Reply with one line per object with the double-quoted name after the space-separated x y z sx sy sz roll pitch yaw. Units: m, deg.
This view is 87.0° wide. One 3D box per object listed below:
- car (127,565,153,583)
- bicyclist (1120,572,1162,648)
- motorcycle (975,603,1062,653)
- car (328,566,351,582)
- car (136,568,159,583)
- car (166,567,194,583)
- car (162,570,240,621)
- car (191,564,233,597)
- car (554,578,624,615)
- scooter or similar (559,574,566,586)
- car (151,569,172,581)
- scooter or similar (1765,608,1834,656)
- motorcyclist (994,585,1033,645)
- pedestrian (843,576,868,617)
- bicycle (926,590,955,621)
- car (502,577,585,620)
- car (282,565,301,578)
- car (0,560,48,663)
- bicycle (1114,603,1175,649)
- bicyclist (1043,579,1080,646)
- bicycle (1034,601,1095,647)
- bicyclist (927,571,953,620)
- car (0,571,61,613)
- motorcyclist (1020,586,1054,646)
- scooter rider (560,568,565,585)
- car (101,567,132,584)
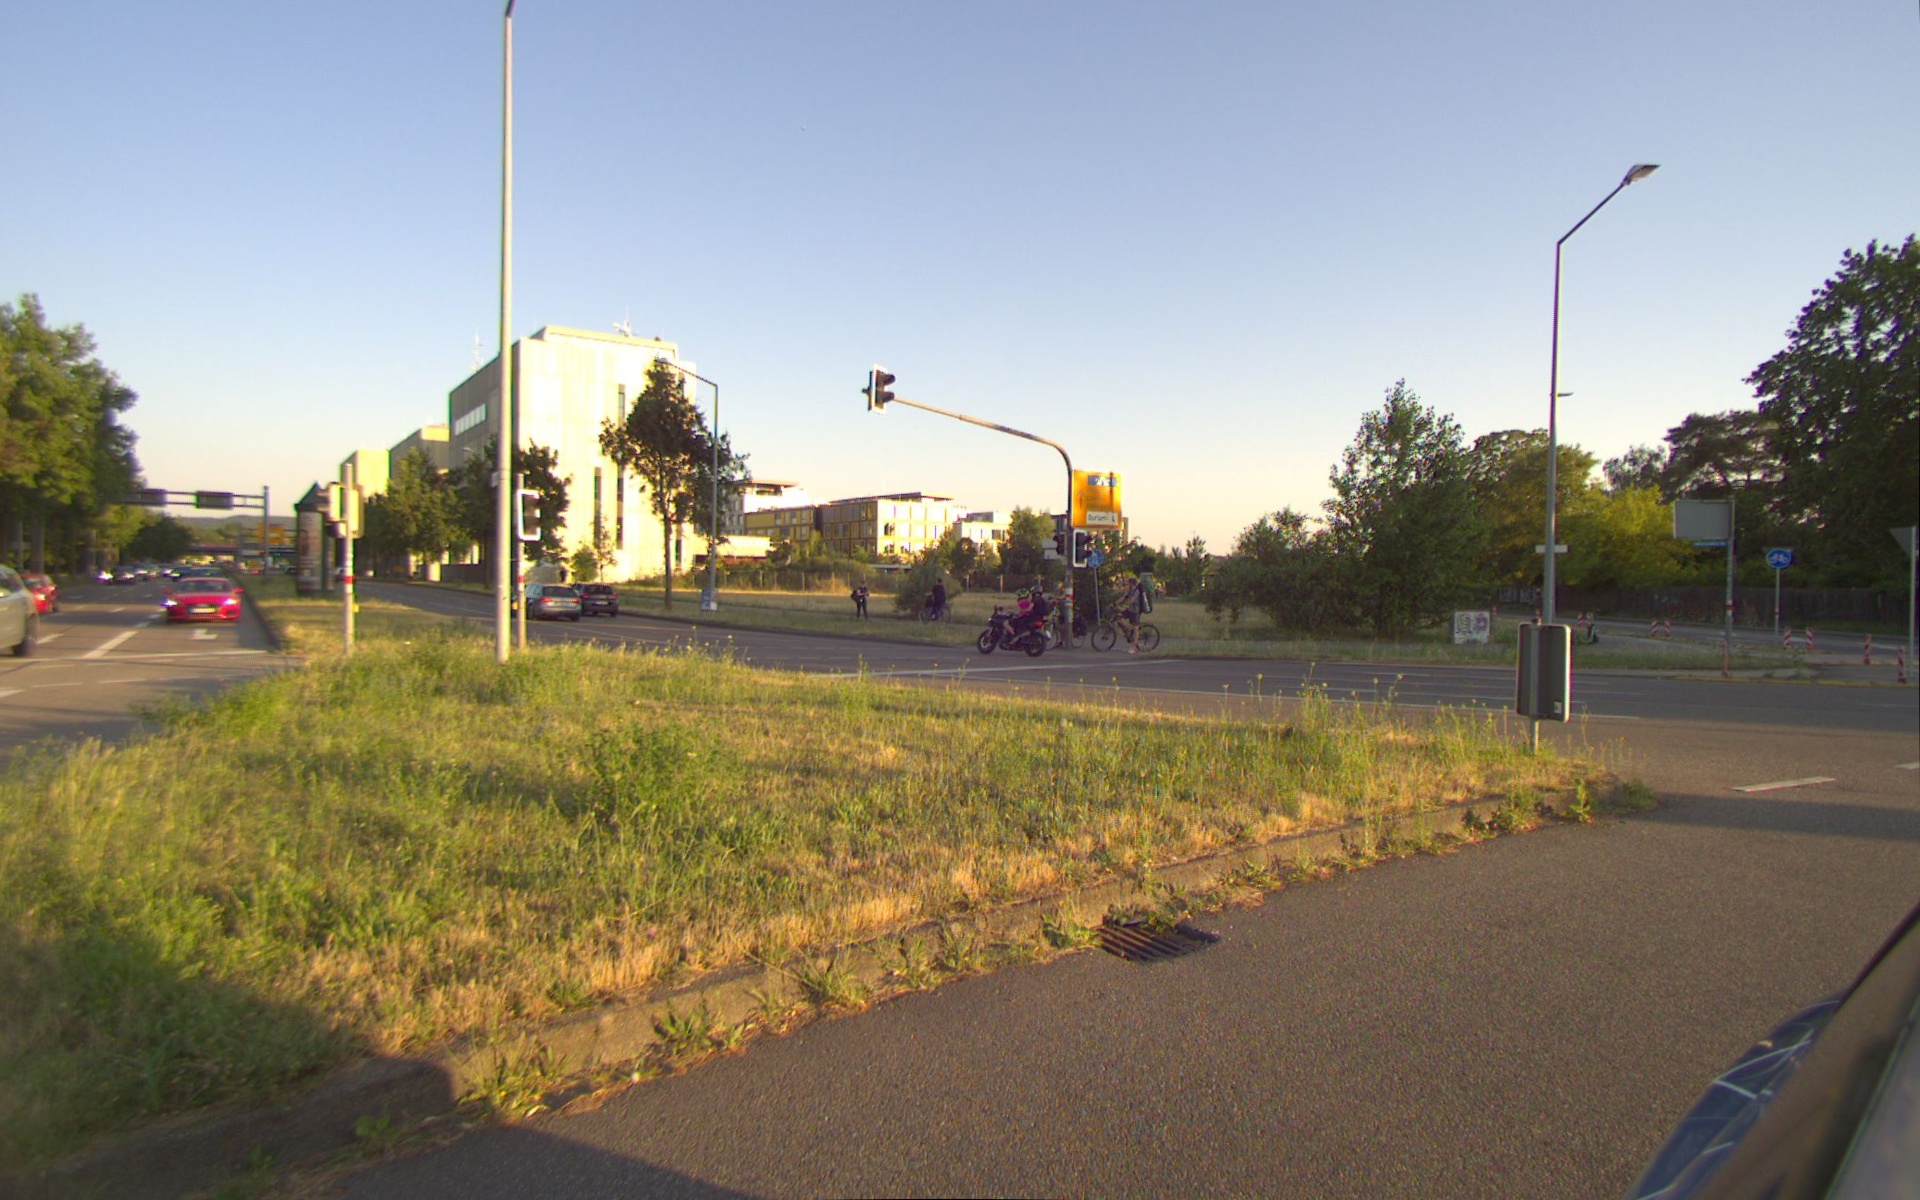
-73.029 -2.296 90.123 1.589 1.537 3.716 -1 2 -36 "car"
4.686 0.236 26.186 0.894 1.921 0.640 -2 2 -40 "bicyclist"
1.419 0.659 24.726 2.146 1.114 0.551 2 1 35 "motorcycle"
-58.604 -2.502 95.642 1.716 1.442 4.140 1 1 -29 "car"
-83.068 -2.539 103.482 1.589 1.537 3.716 -1 2 -36 "car"
-68.656 -2.196 89.097 1.841 1.325 4.137 -1 2 -36 "car"
-23.838 -0.156 31.913 1.810 1.479 4.581 1 0 -35 "car"
-39.473 -1.029 53.384 1.690 1.633 4.134 -1 1 -37 "car"
-16.290 -0.193 44.300 1.770 1.482 3.998 1 1 -37 "car"
-31.396 -1.601 79.976 0.242 0.925 1.039 1 1 -37 "scooter or similar"
-94.631 -2.963 119.938 1.841 1.325 4.137 -1 2 -36 "car"
21.217 0.807 25.588 1.356 1.177 0.442 1 1 -2 "scooter or similar"
1.312 0.344 24.814 0.709 1.434 0.629 1 1 33 "motorcyclist"
-4.010 -0.131 38.763 0.782 1.569 0.567 0 1 -37 "pedestrian"
-0.726 0.195 37.561 0.275 1.102 1.372 1 1 -37 "bicycle"
-15.898 -0.087 38.513 1.770 1.440 4.446 1 1 -38 "car"
-86.789 -3.722 131.339 1.784 1.544 4.134 1 1 -36 "car"
-17.712 0.204 17.569 1.885 1.776 4.925 -1 1 -31 "car"
4.807 0.662 26.259 1.894 1.098 0.456 -2 2 -40 "bicycle"
2.724 0.320 27.283 0.757 1.722 0.640 -3 3 -40 "bicyclist"
2.830 0.636 27.327 1.894 1.098 0.456 -3 3 -40 "bicycle"
-0.758 -0.172 37.567 0.527 1.765 0.843 1 1 -38 "bicyclist"
-34.780 -0.323 37.587 1.695 1.502 3.632 -1 2 -36 "car"
1.864 0.371 24.448 0.590 1.426 0.629 1 1 34 "motorcyclist"
-31.388 -1.867 79.939 0.260 1.356 0.406 1 1 -37 "scooter rider"
-64.740 -1.891 77.684 1.589 1.325 3.716 -1 2 -36 "car"
